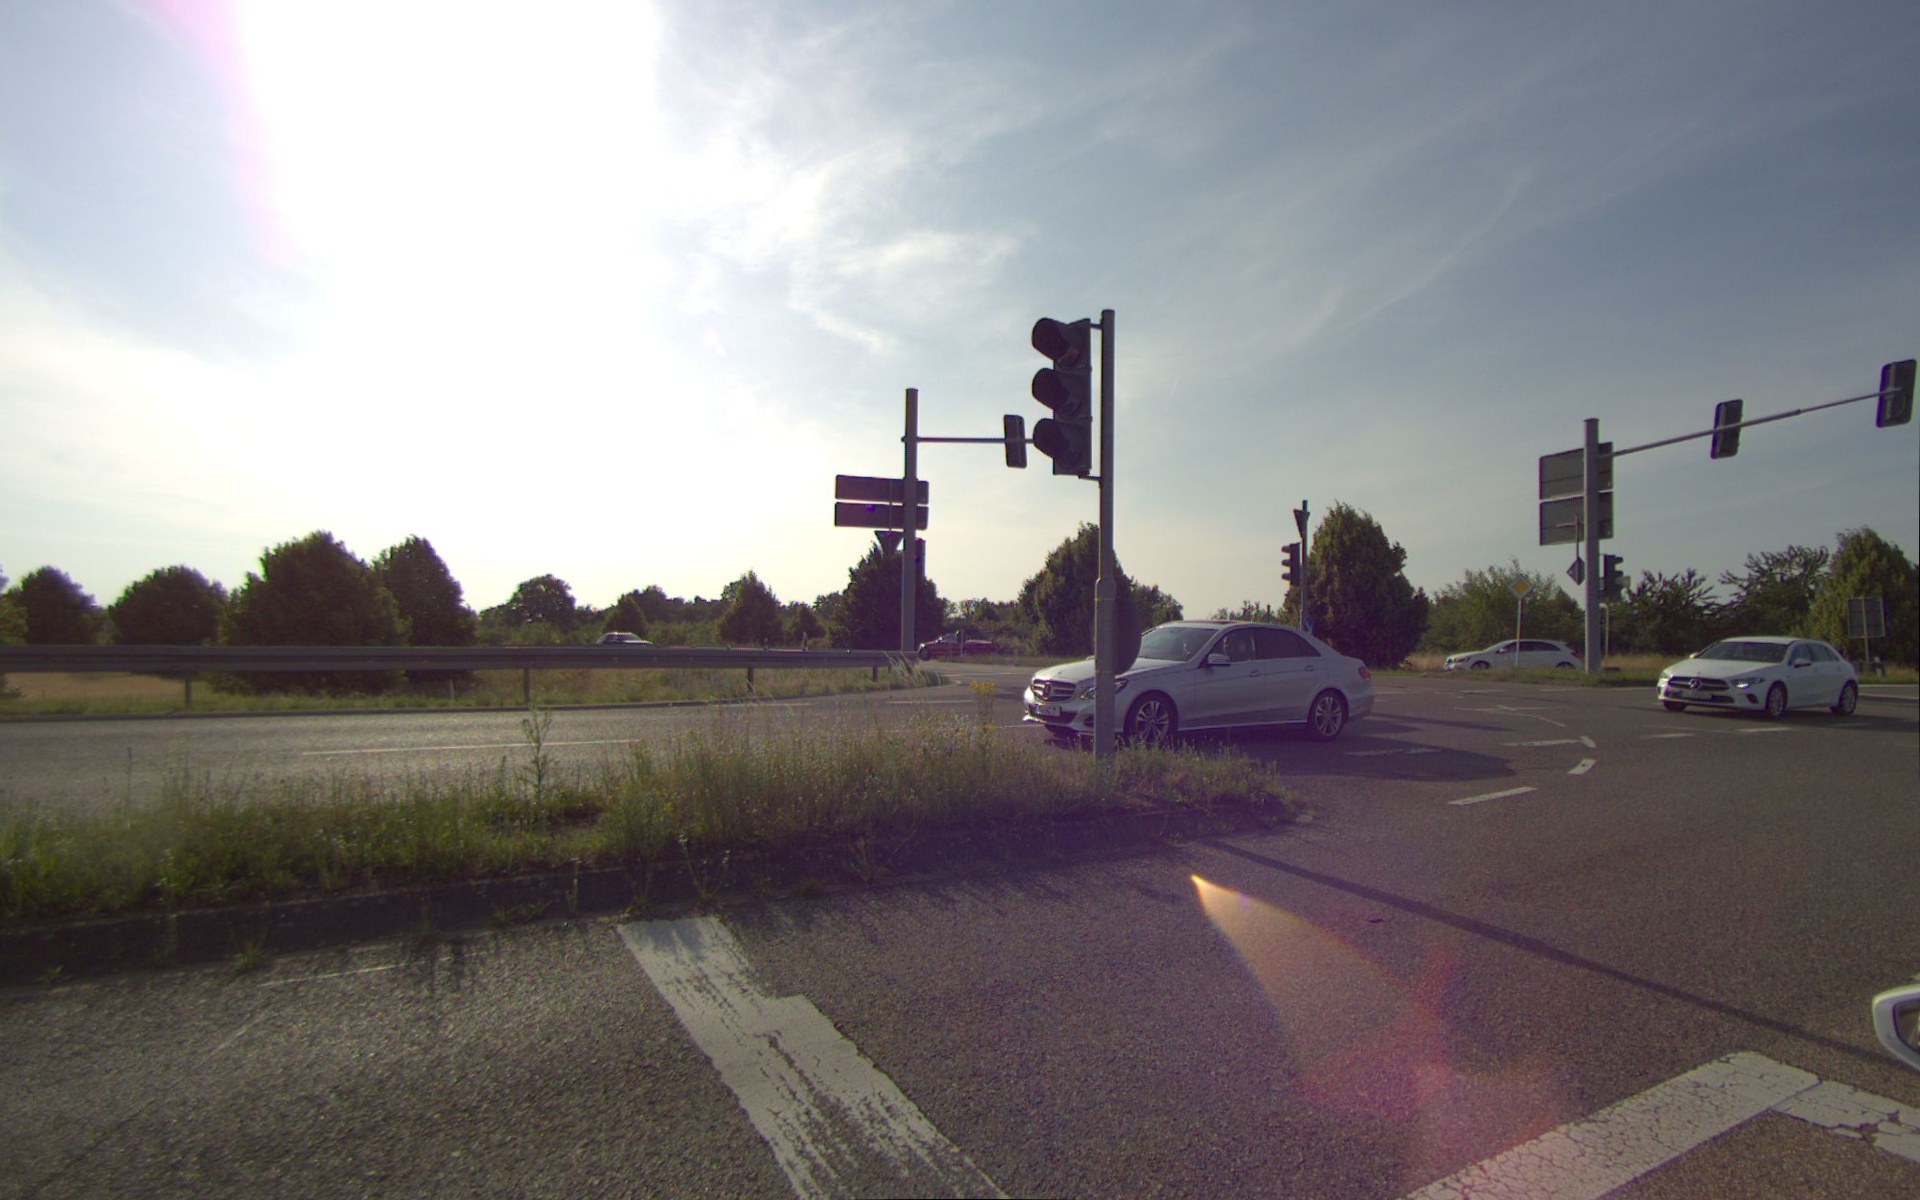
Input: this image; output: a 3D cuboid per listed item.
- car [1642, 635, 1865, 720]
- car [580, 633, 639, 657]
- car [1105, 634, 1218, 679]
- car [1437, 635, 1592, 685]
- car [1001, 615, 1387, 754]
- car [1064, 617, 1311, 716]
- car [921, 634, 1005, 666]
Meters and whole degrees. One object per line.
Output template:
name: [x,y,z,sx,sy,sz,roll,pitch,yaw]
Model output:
car: [15.143,1.436,19.135,4.339,1.432,1.723,2,-1,-28]
car: [-22.615,2.890,64.800,3.943,1.416,1.949,0,-2,42]
car: [8.060,2.217,40.264,4.055,1.608,1.924,1,-1,29]
car: [19.357,2.074,35.248,4.356,1.555,1.954,1,-1,10]
car: [2.985,0.987,12.552,4.645,1.454,1.918,2,-2,-30]
car: [3.853,1.091,16.868,3.974,1.486,1.653,2,-2,-29]
car: [0.113,2.386,48.157,3.944,1.372,1.649,0,-2,43]
